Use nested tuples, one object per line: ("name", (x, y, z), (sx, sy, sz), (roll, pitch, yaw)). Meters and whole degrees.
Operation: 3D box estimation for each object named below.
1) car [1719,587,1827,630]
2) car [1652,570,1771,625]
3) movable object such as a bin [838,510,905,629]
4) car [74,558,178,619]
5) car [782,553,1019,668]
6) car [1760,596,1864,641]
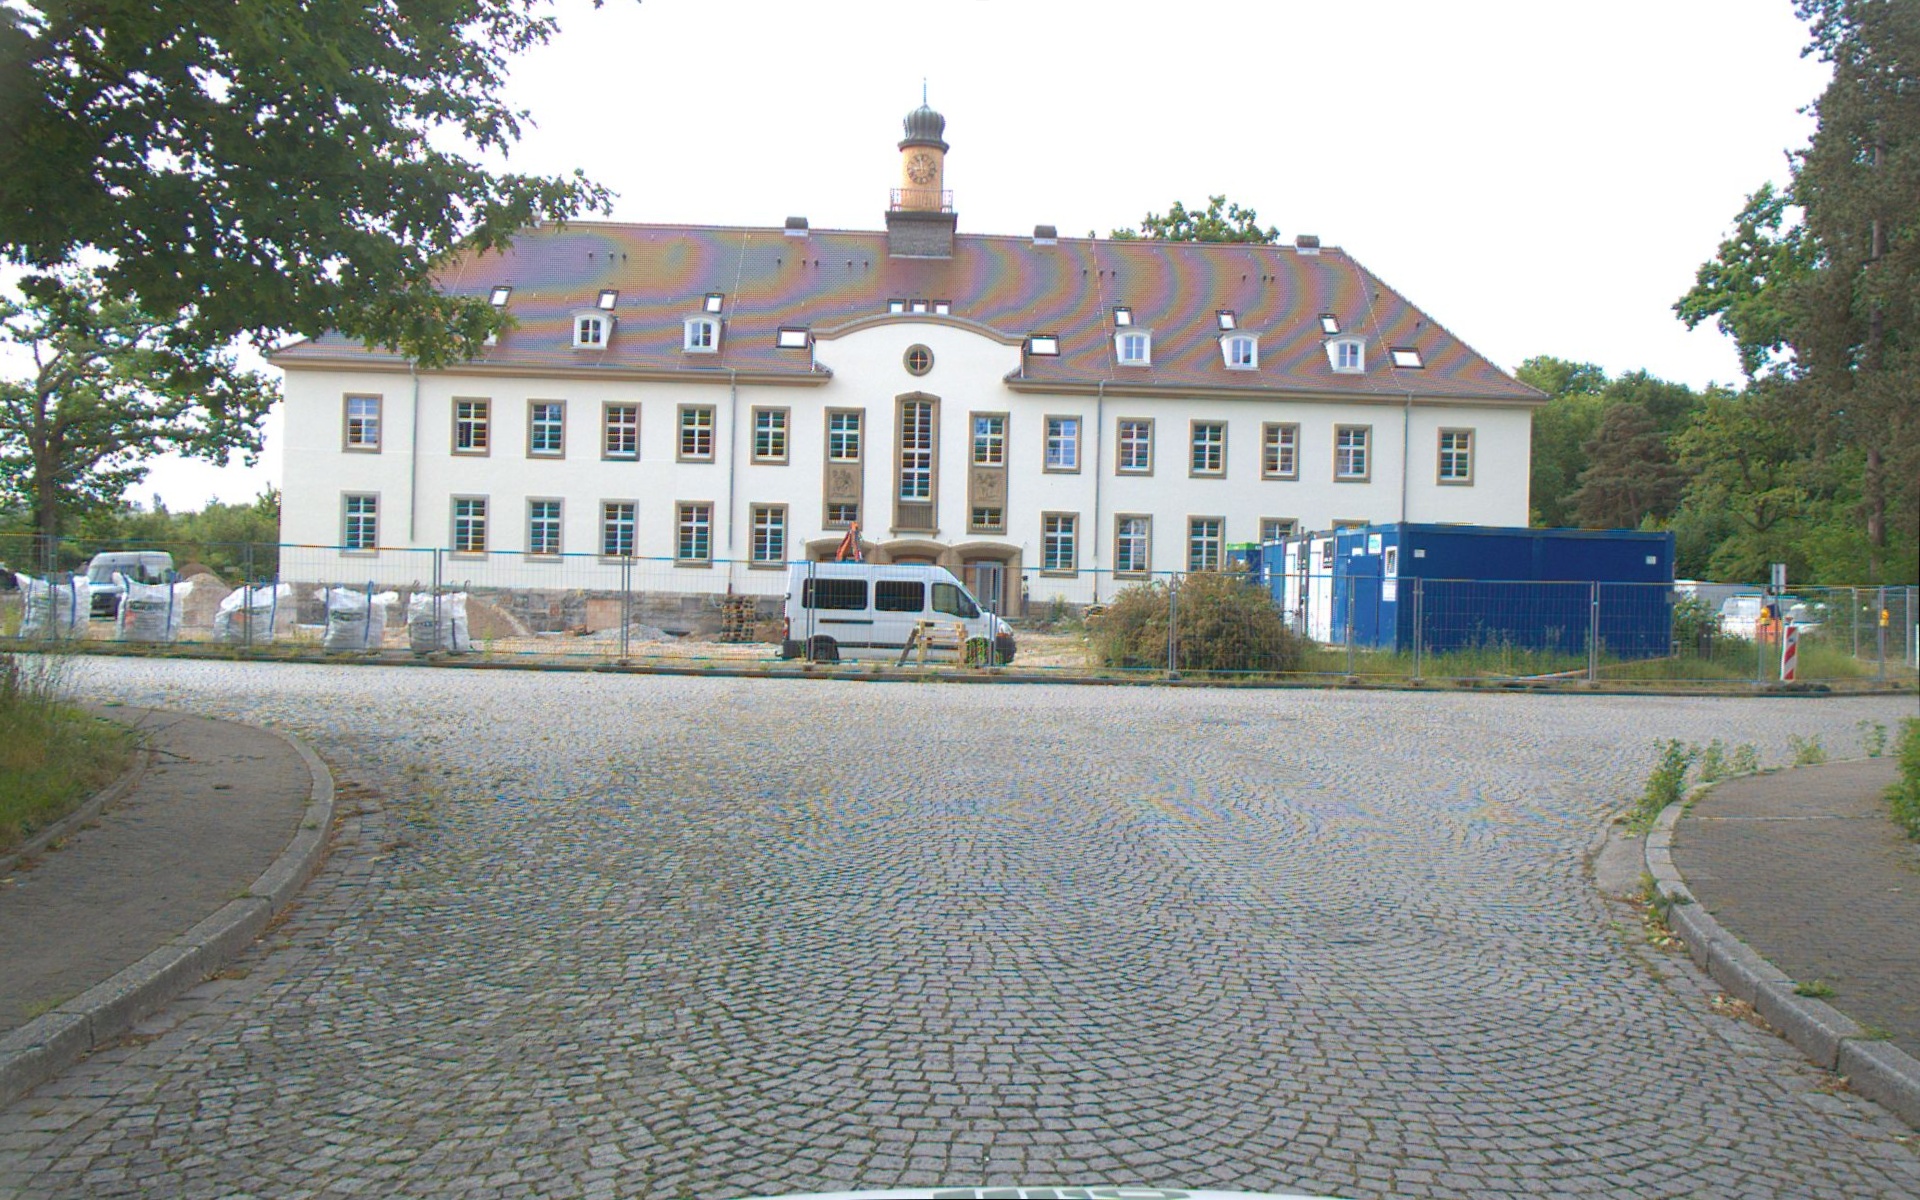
("car", (30.849, 0.328, 62.714), (4.391, 1.528, 1.744), (1, 0, -34))
("car", (29.830, -0.068, 65.566), (5.355, 2.078, 1.744), (1, 0, -34))
("movable object such as a bin", (-3.104, -1.000, 56.958), (1.955, 3.837, 5.311), (2, 0, -6))
("car", (-31.765, -0.449, 63.142), (2.029, 2.188, 4.890), (1, 0, -8))
("car", (-1.324, 0.233, 37.415), (5.156, 2.385, 1.910), (2, 0, -1))
("car", (30.454, 0.654, 59.086), (3.939, 1.513, 1.602), (1, 1, -34))
